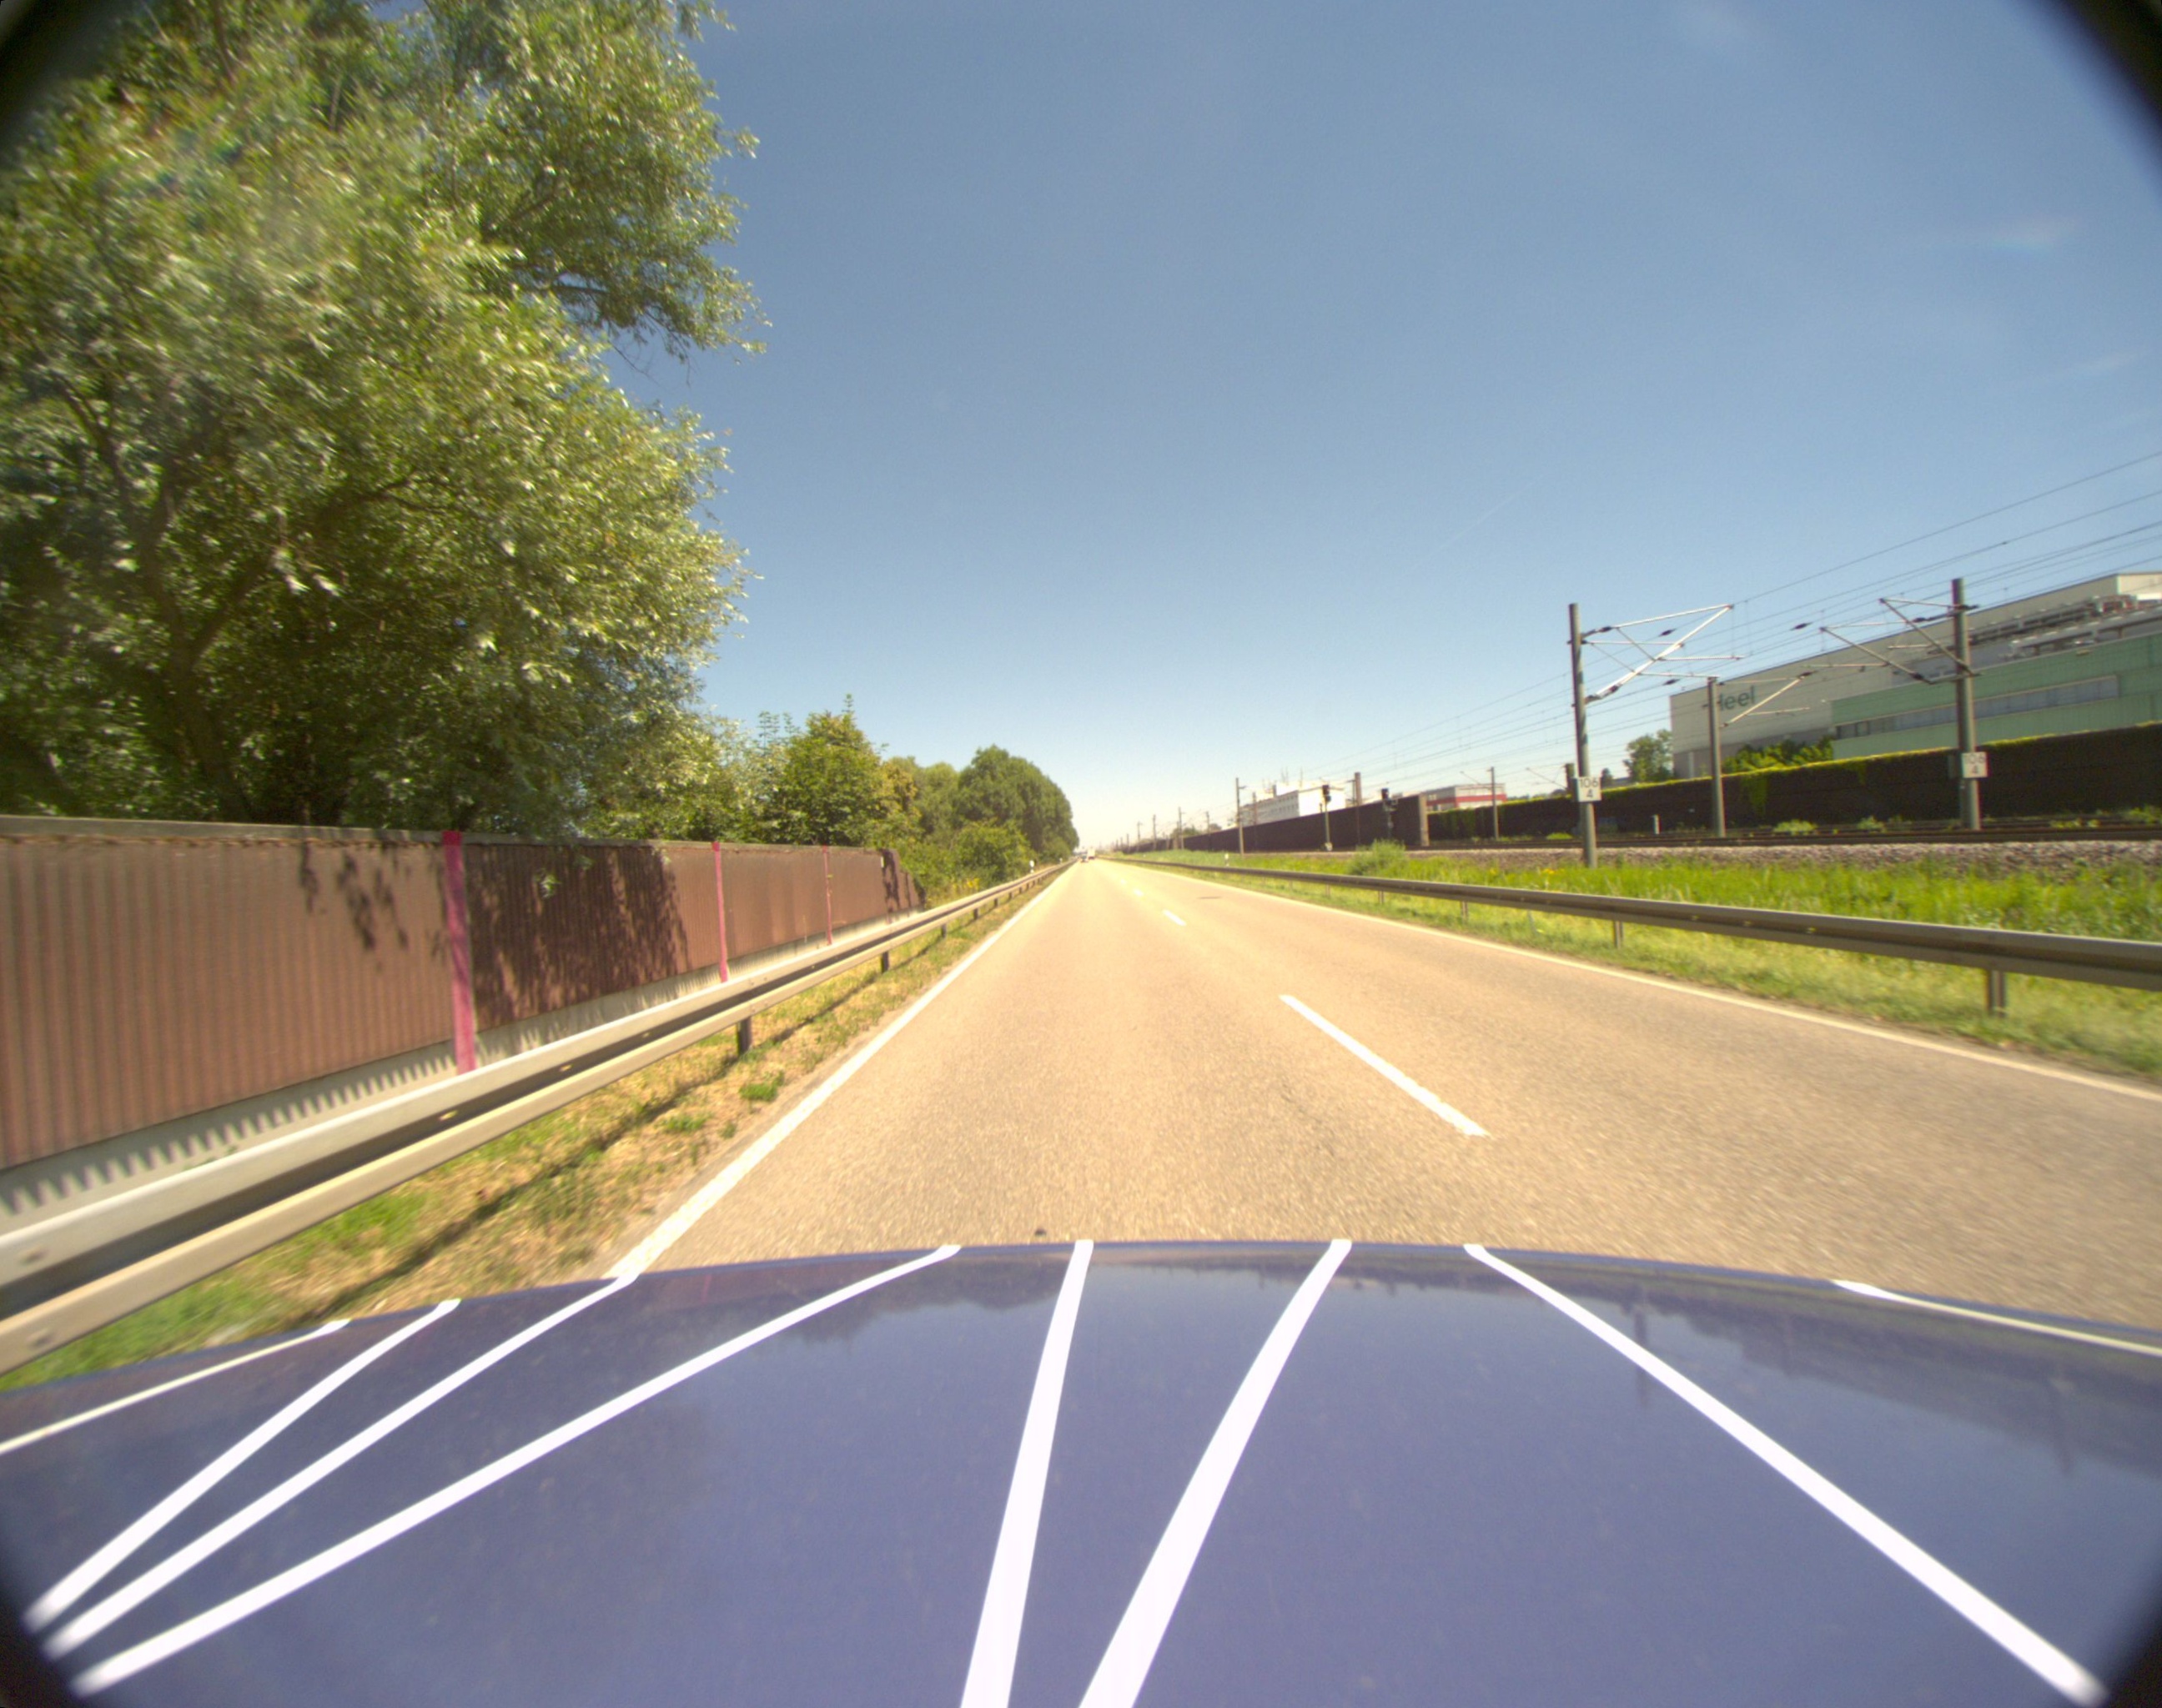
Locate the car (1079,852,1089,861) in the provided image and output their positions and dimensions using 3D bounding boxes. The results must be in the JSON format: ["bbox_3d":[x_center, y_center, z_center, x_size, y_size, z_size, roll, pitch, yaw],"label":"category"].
[{"bbox_3d":[0.636,0.597,174.880,1.999,2.002,3.999,-2,0,-1],"label":"car"}]
